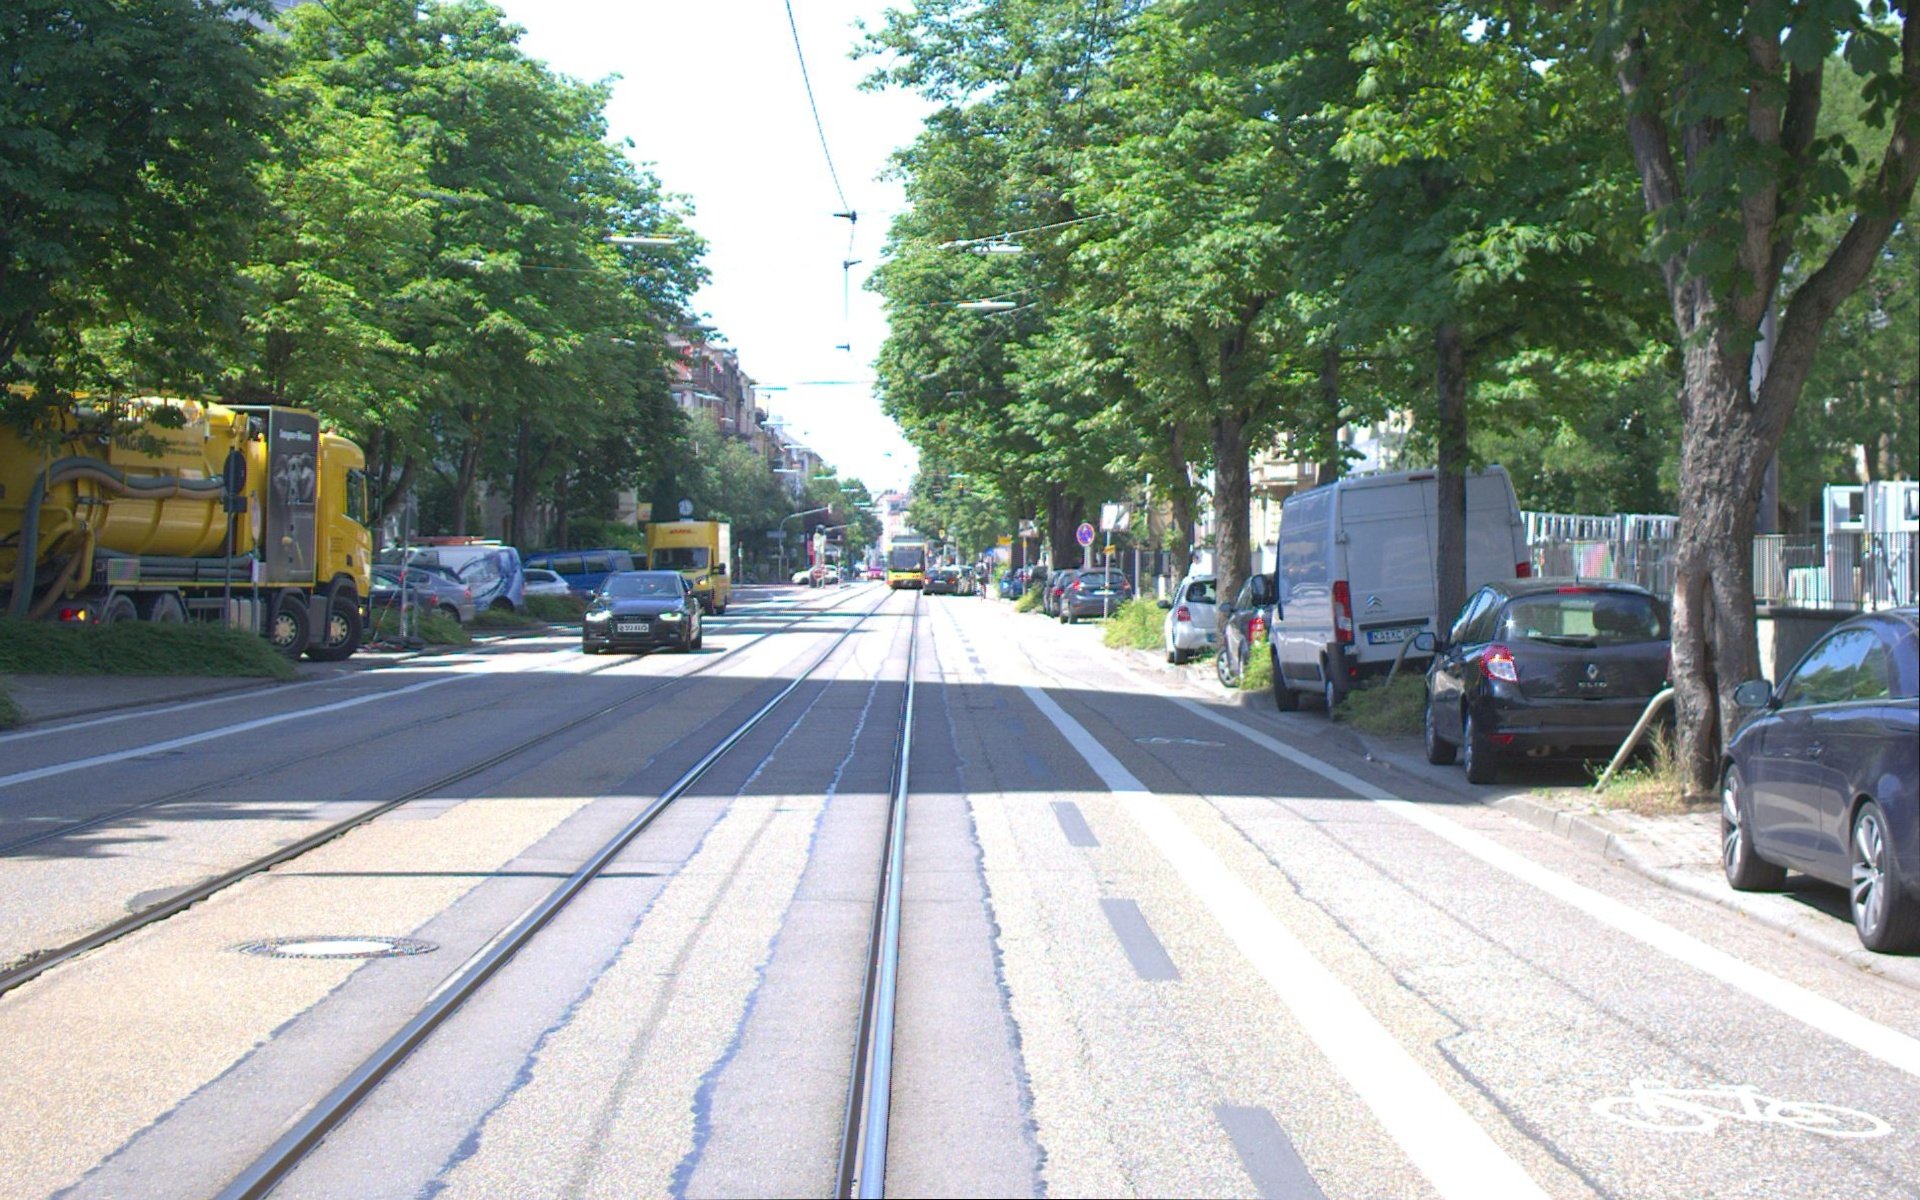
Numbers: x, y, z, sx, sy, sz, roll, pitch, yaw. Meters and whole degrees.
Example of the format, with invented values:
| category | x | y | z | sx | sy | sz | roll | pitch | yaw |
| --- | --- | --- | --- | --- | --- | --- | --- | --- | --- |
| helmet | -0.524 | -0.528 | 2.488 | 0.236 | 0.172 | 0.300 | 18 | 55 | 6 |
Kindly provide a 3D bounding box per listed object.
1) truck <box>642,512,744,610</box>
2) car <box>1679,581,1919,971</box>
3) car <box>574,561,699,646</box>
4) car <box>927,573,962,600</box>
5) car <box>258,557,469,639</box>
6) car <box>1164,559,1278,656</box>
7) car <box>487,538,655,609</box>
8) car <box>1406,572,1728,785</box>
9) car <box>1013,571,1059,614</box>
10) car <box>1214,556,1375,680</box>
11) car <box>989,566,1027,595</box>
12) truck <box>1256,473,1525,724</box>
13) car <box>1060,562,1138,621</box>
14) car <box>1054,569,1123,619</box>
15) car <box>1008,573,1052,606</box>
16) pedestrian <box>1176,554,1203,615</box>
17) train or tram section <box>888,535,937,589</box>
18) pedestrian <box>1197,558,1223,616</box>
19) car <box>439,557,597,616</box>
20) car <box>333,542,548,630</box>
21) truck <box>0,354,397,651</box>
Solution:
| category | x | y | z | sx | sy | sz | roll | pitch | yaw |
| --- | --- | --- | --- | --- | --- | --- | --- | --- | --- |
| truck | -8.080 | -1.205 | 104.764 | 2.360 | 2.843 | 7.378 | -1 | 1 | 1 |
| car | 4.617 | 0.672 | 15.548 | 1.824 | 1.466 | 4.486 | 0 | 1 | 1 |
| car | -5.541 | 0.030 | 59.298 | 1.774 | 1.392 | 4.287 | 0 | 1 | 0 |
| car | -0.781 | -0.708 | 176.755 | 1.781 | 1.341 | 3.416 | 0 | 1 | 0 |
| car | -11.503 | -0.047 | 66.424 | 1.761 | 1.502 | 3.700 | -1 | 1 | 43 |
| car | 4.272 | 0.103 | 56.773 | 1.644 | 1.529 | 3.785 | 0 | 1 | 1 |
| car | -11.939 | -0.825 | 105.739 | 4.748 | 2.055 | 2.026 | -2 | 1 | -39 |
| car | 4.562 | 0.533 | 26.432 | 1.824 | 1.466 | 4.400 | 0 | 1 | 2 |
| car | 2.890 | -0.300 | 131.438 | 1.592 | 1.611 | 3.908 | 0 | 0 | -1 |
| car | 4.304 | 0.196 | 44.716 | 1.644 | 1.529 | 3.947 | 0 | 1 | -1 |
| car | 2.340 | -0.943 | 168.917 | 1.710 | 1.418 | 4.310 | 0 | 0 | -1 |
| truck | 4.509 | -0.058 | 36.975 | 2.014 | 2.480 | 5.956 | 0 | 1 | -1 |
| car | 3.633 | -0.222 | 90.286 | 1.639 | 1.480 | 3.873 | 0 | 0 | -4 |
| car | 3.821 | -0.186 | 102.801 | 1.876 | 1.450 | 4.528 | 0 | 0 | 0 |
| car | 3.056 | -0.452 | 150.677 | 1.710 | 1.418 | 4.310 | 0 | 0 | -1 |
| pedestrian | 7.031 | -0.474 | 105.346 | 0.724 | 1.853 | 0.576 | -1 | 0 | 16 |
| train or tram section | -3.083 | -2.496 | 225.588 | 3.035 | 3.427 | 11.970 | 0 | 1 | 0 |
| pedestrian | 7.615 | -0.399 | 104.655 | 0.619 | 1.731 | 0.477 | -1 | 0 | 30 |
| car | -11.939 | -0.380 | 92.993 | 1.761 | 1.428 | 3.990 | -3 | 0 | 42 |
| car | -11.990 | -0.344 | 79.605 | 1.920 | 1.928 | 4.745 | -1 | 0 | 42 |
| truck | -11.674 | -1.267 | 50.037 | 2.717 | 3.828 | 10.957 | 2 | 0 | 14 |
